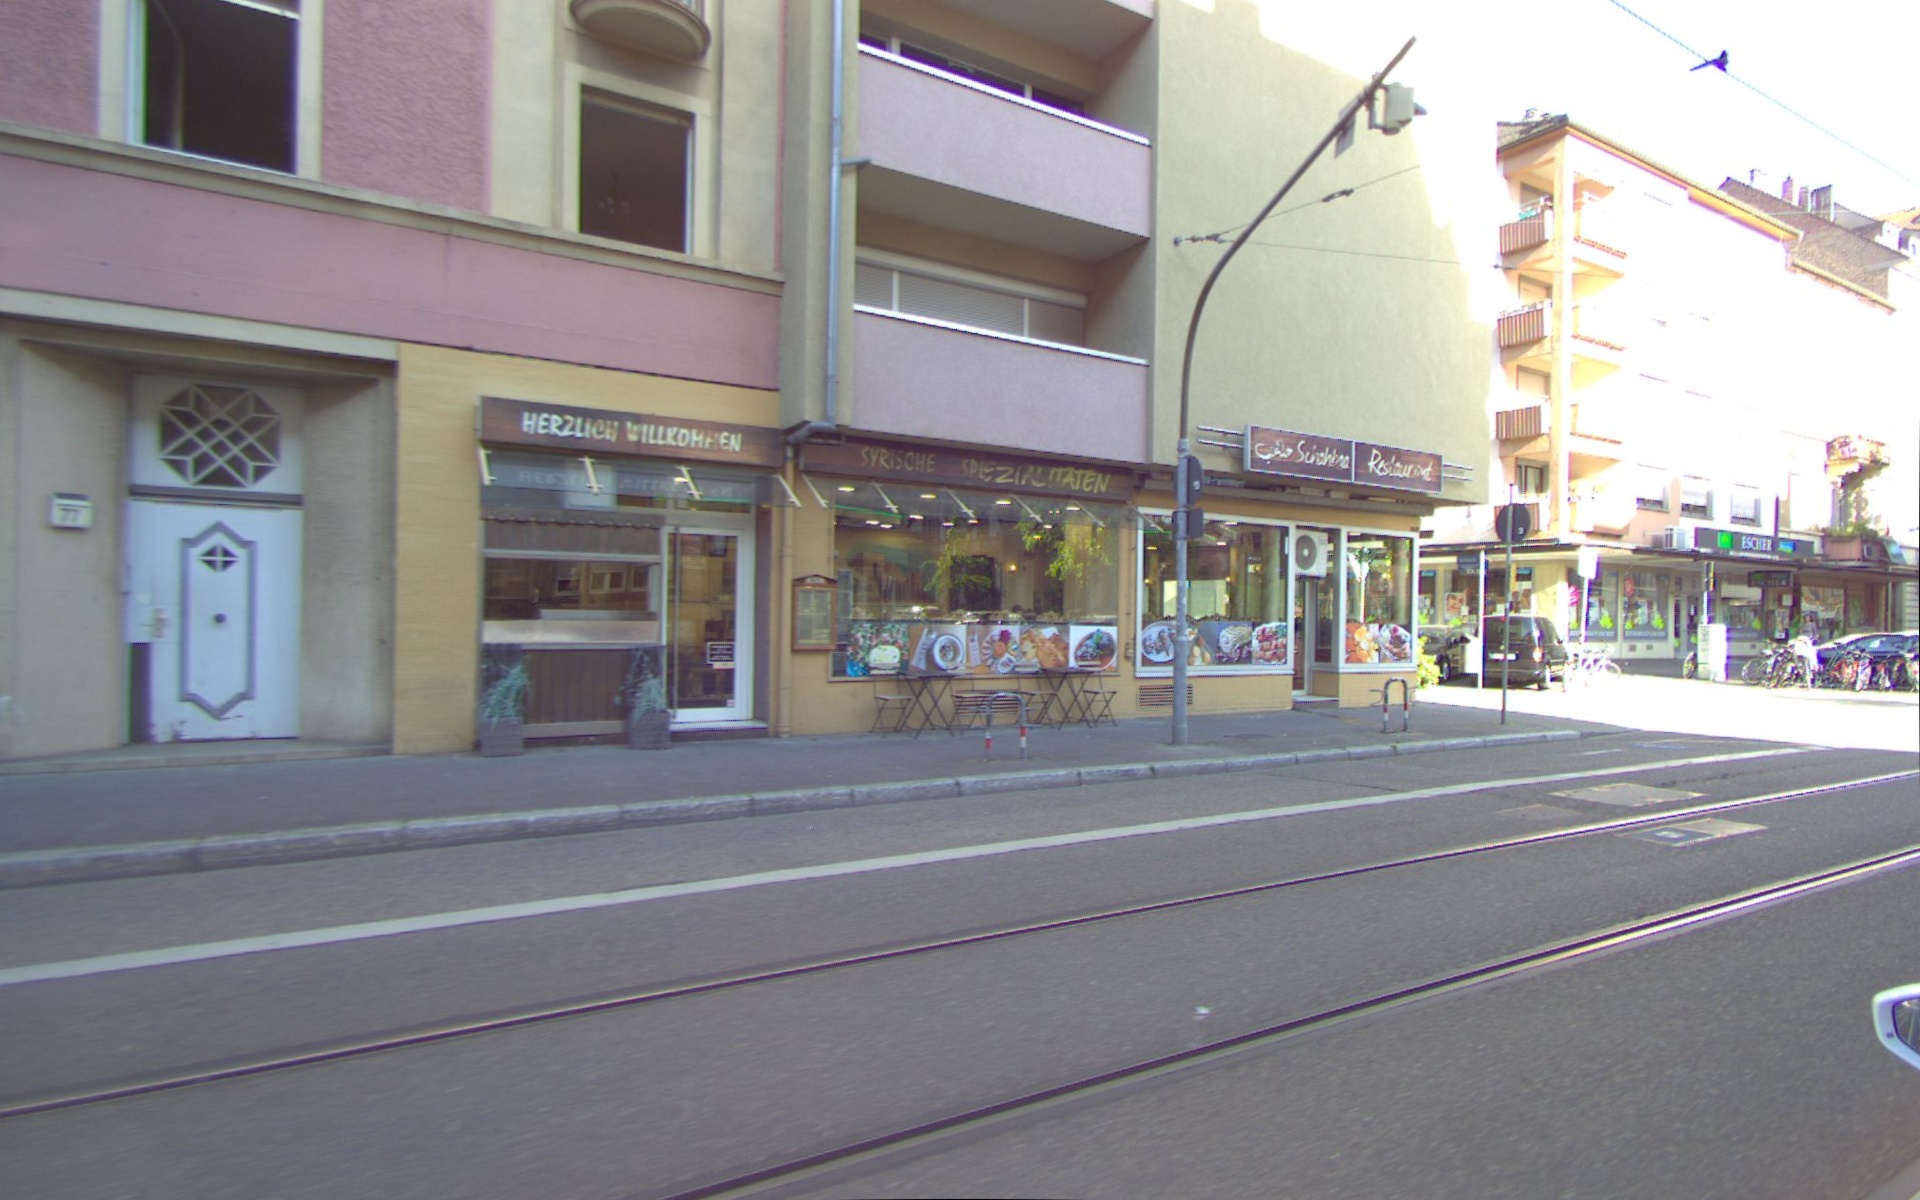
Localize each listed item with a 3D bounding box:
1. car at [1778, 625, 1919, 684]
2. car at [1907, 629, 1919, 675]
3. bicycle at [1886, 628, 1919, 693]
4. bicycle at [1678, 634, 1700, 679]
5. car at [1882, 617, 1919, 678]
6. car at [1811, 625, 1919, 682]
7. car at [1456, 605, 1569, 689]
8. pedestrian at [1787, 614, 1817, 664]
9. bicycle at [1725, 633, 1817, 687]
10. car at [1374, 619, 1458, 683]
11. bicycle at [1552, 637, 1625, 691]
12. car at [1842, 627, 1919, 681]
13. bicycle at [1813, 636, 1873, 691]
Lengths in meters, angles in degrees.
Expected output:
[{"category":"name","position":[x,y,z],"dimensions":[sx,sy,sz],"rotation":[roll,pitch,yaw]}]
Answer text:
[{"category":"car","position":[23.377,1.382,25.763],"dimensions":[3.406,1.355,1.623],"rotation":[2,0,26]},{"category":"car","position":[32.928,1.739,31.777],"dimensions":[3.945,1.468,1.697],"rotation":[2,0,28]},{"category":"bicycle","position":[22.042,1.362,23.017],"dimensions":[2.410,1.337,0.677],"rotation":[-1,1,-35]},{"category":"bicycle","position":[19.346,1.483,26.650],"dimensions":[0.398,1.124,1.829],"rotation":[1,-1,38]},{"category":"car","position":[30.580,1.489,30.316],"dimensions":[3.757,1.808,1.793],"rotation":[1,0,32]},{"category":"car","position":[25.831,1.466,27.354],"dimensions":[3.722,1.419,1.752],"rotation":[2,0,28]},{"category":"car","position":[14.518,1.165,26.295],"dimensions":[1.821,1.841,4.337],"rotation":[-3,0,39]},{"category":"pedestrian","position":[29.155,1.343,34.776],"dimensions":[0.634,1.674,0.566],"rotation":[2,0,-30]},{"category":"bicycle","position":[19.895,1.444,24.705],"dimensions":[0.670,1.124,2.436],"rotation":[0,1,10]},{"category":"car","position":[12.963,1.382,28.457],"dimensions":[1.816,1.411,3.992],"rotation":[1,3,29]},{"category":"bicycle","position":[15.129,1.515,24.144],"dimensions":[2.412,1.124,0.676],"rotation":[-1,1,-37]},{"category":"car","position":[27.926,1.554,29.024],"dimensions":[3.410,1.493,1.645],"rotation":[0,0,32]},{"category":"bicycle","position":[20.995,1.486,23.925],"dimensions":[0.671,1.138,1.884],"rotation":[0,1,29]}]
